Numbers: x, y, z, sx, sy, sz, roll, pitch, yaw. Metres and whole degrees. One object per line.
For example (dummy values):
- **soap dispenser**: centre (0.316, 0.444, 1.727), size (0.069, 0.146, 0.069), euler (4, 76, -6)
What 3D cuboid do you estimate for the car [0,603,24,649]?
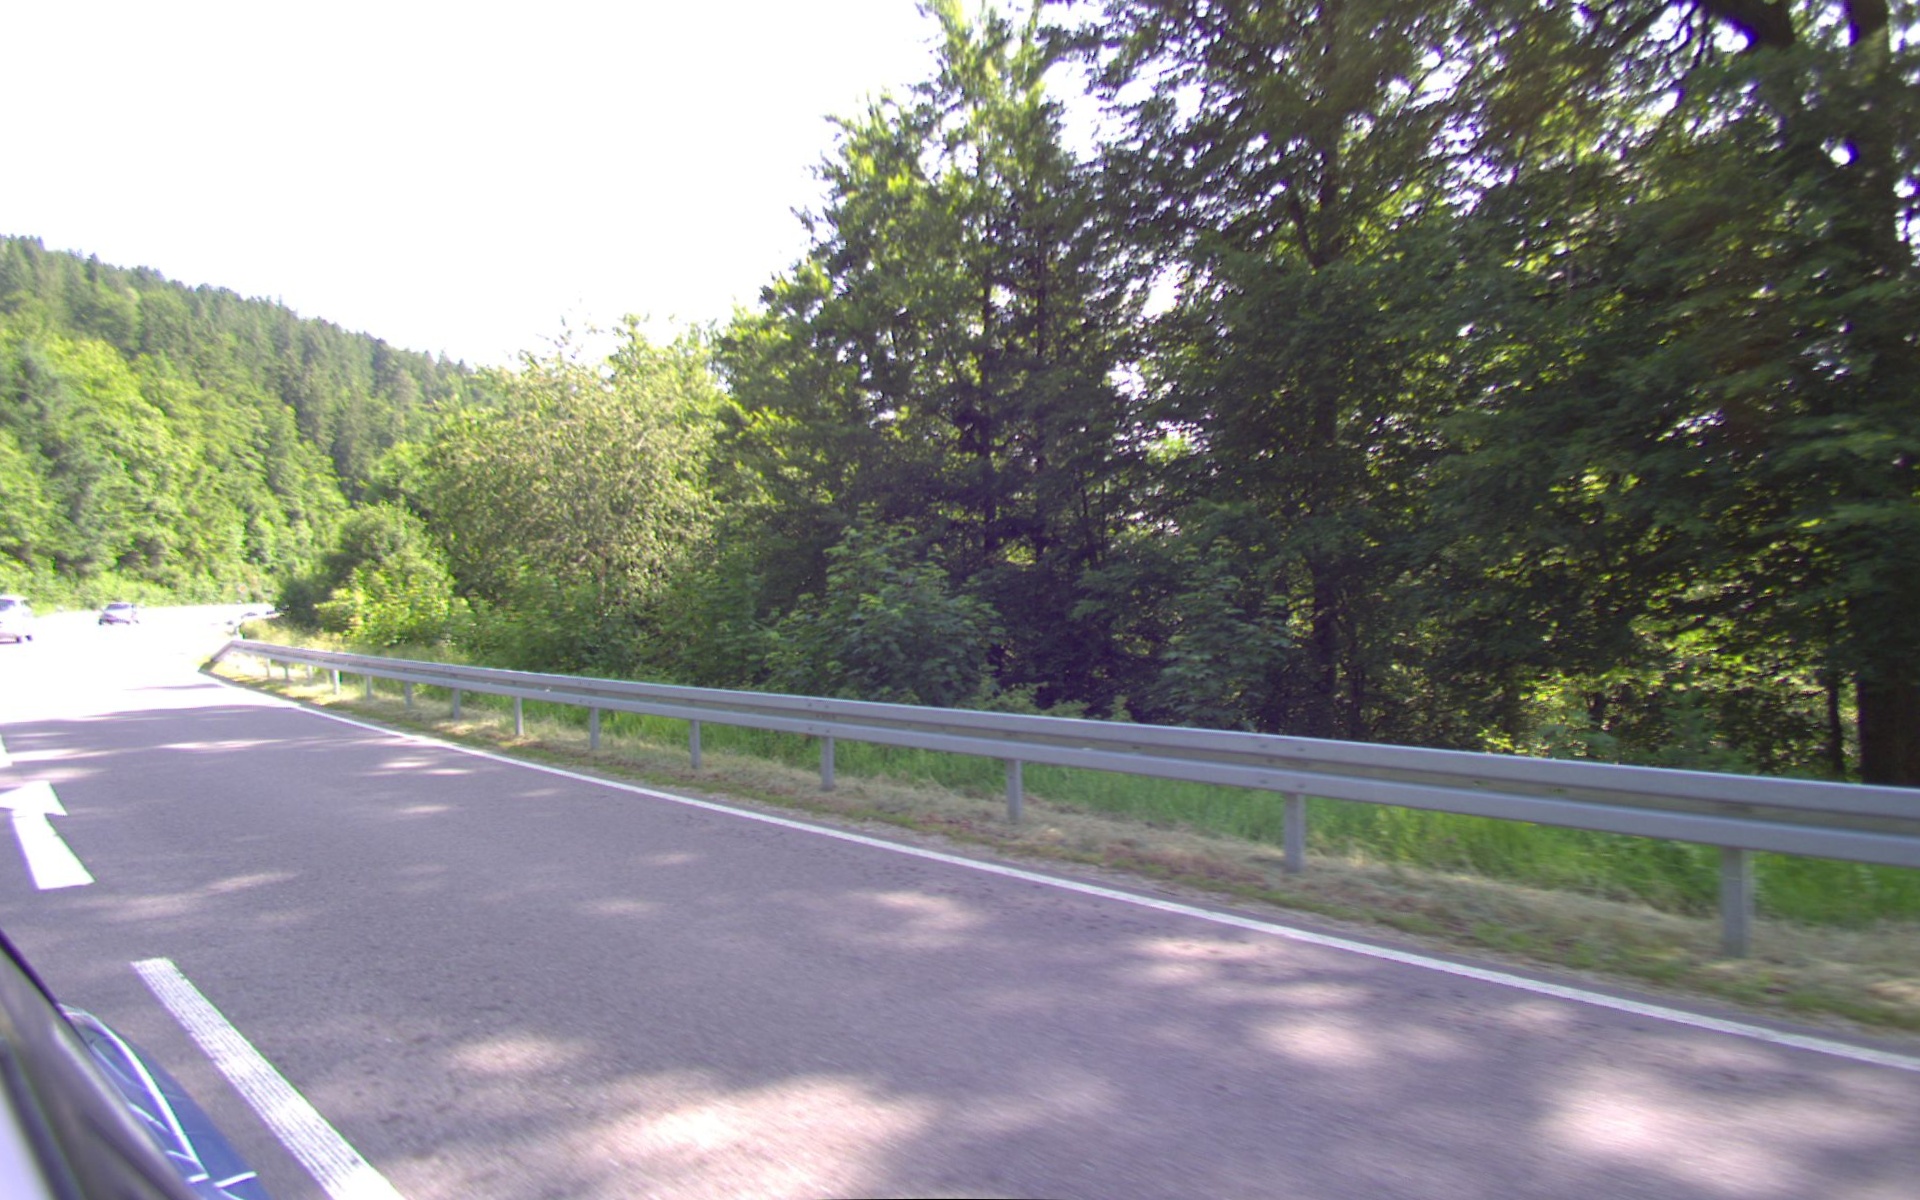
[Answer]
- **car**: centre (-38.811, 1.014, 40.593), size (1.628, 1.772, 3.801), euler (1, 0, -40)

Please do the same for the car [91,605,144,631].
- **car**: centre (-55.862, 1.190, 67.187), size (1.966, 1.655, 4.013), euler (-1, 0, -29)
